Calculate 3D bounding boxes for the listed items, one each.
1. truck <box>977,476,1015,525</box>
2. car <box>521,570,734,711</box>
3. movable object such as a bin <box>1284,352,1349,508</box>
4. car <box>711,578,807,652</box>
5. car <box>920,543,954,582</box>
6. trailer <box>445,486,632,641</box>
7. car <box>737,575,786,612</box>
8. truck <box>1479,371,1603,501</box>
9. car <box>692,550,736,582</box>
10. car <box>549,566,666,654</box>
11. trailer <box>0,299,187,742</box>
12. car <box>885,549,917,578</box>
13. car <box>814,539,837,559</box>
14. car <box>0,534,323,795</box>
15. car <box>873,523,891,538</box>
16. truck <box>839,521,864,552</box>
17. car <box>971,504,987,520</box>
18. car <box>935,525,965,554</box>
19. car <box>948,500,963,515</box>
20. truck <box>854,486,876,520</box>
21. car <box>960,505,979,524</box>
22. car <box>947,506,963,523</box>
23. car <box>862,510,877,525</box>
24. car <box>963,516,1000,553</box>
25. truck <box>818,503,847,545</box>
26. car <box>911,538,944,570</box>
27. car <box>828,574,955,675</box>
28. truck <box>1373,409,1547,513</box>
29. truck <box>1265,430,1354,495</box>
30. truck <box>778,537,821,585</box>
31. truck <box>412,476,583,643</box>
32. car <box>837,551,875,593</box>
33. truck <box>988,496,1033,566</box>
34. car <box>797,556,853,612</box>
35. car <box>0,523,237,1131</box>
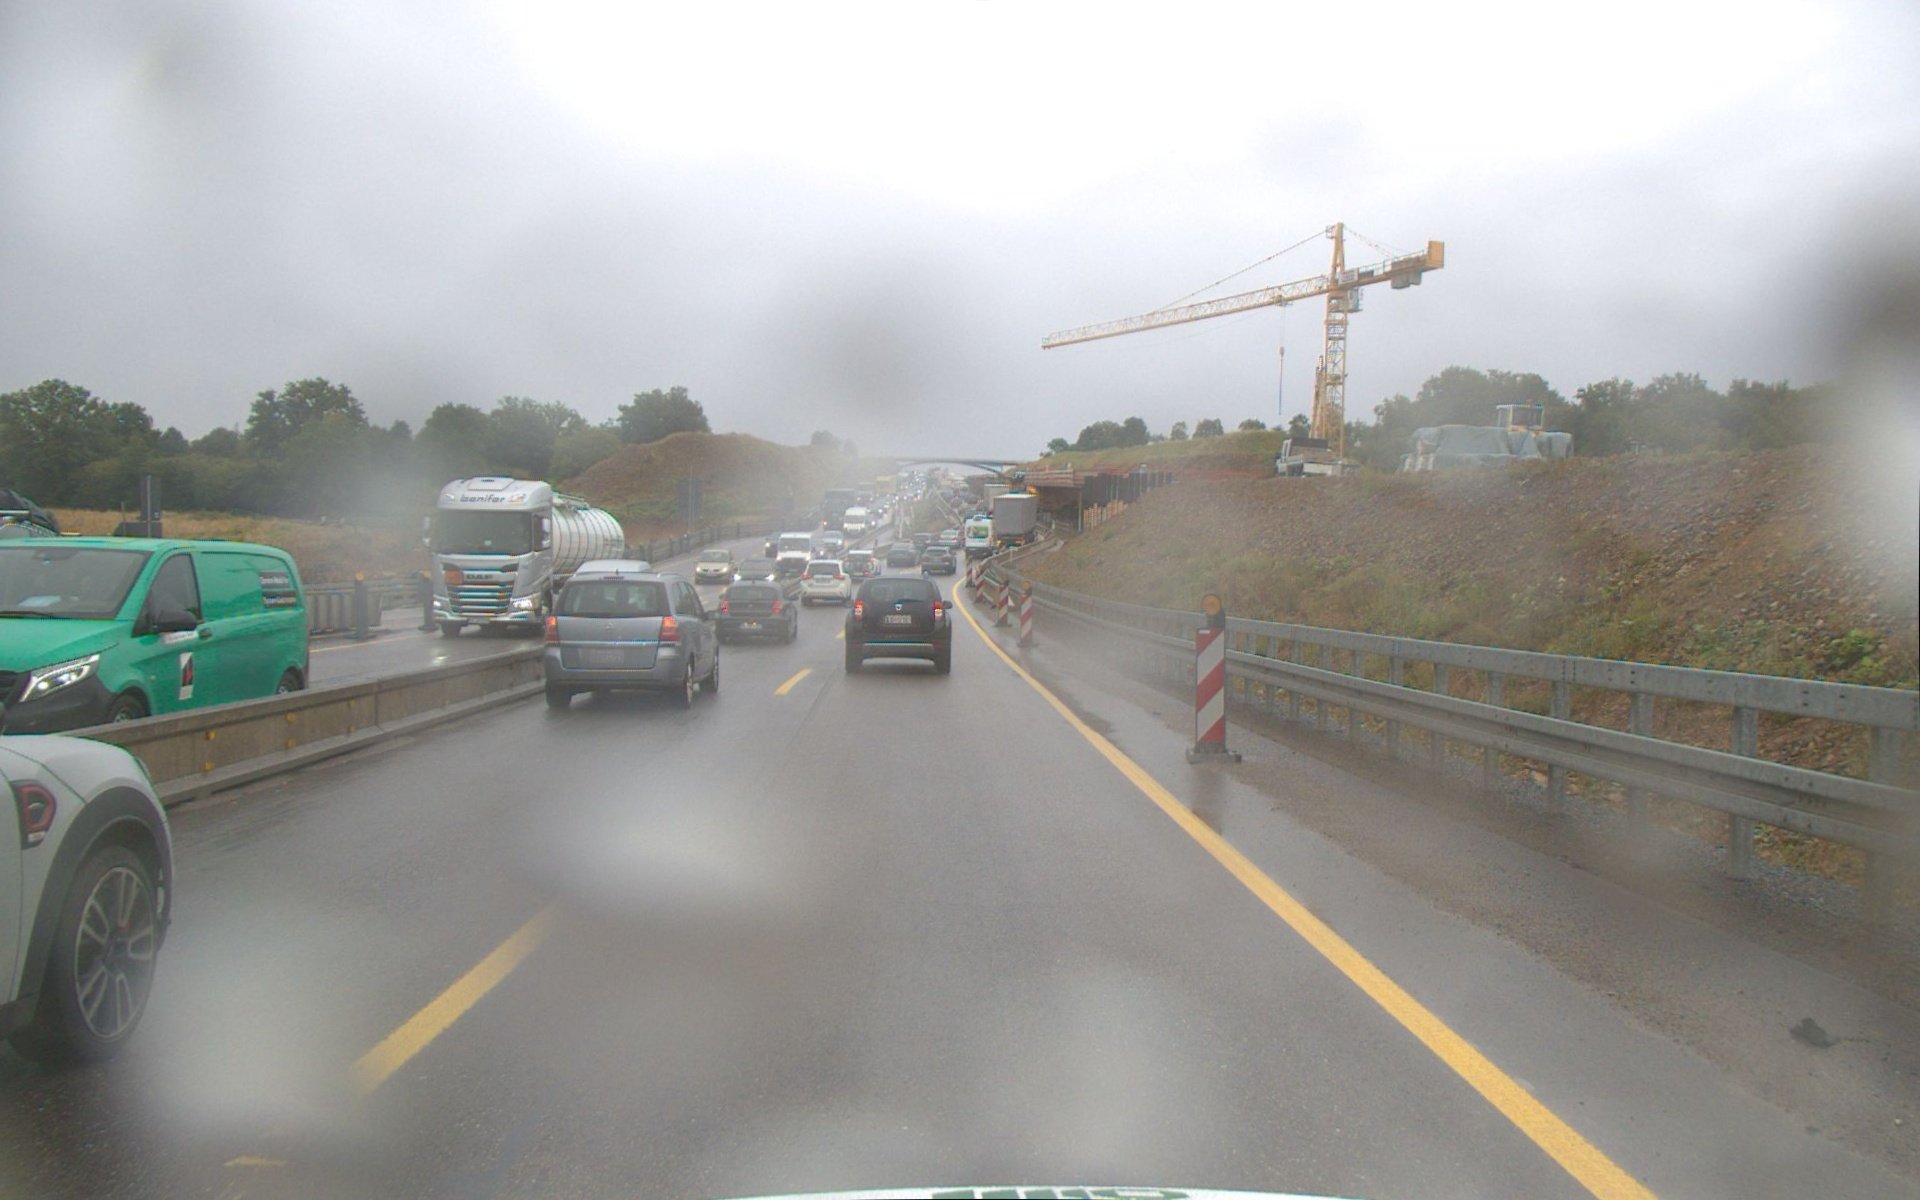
[{"bbox_3d":[4.245,-11.877,198.758,3.727,5.130,12.916,0,0,-2],"label":"truck"},{"bbox_3d":[-4.158,0.453,21.349,1.953,1.628,4.140,0,0,-1],"label":"car"},{"bbox_3d":[27.503,-12.845,127.492,4.617,11.031,10.312,0,0,13],"label":"movable object such as a bin"},{"bbox_3d":[-4.645,0.323,38.744,1.954,1.628,4.138,0,0,-3],"label":"car"},{"bbox_3d":[-1.338,-2.181,97.424,1.953,2.200,4.140,0,0,-1],"label":"car"},{"bbox_3d":[-11.411,-0.959,46.096,2.568,3.741,11.999,0,1,-2],"label":"trailer"},{"bbox_3d":[-8.691,-0.309,72.793,1.737,1.530,4.677,0,1,-2],"label":"car"},{"bbox_3d":[21.646,-6.036,61.934,2.325,4.292,5.977,0,0,-2],"label":"truck"},{"bbox_3d":[-12.372,-1.735,83.241,1.752,1.573,3.999,0,1,-2],"label":"car"},{"bbox_3d":[-7.761,0.193,36.763,1.828,1.831,4.161,0,1,-2],"label":"car"},{"bbox_3d":[-10.162,-0.712,11.529,2.694,4.113,15.355,0,0,-2],"label":"trailer"},{"bbox_3d":[-3.810,-2.333,107.311,1.953,1.792,3.814,0,0,-1],"label":"car"},{"bbox_3d":[-10.427,-3.984,128.349,1.643,1.550,4.344,0,2,-2],"label":"car"},{"bbox_3d":[-7.098,0.425,13.669,1.953,1.790,4.686,0,0,-2],"label":"car"},{"bbox_3d":[-8.069,-7.204,171.874,1.831,1.496,4.669,0,3,-3],"label":"car"},{"bbox_3d":[-9.864,-5.786,151.247,2.104,2.760,6.015,1,2,-2],"label":"truck"},{"bbox_3d":[2.671,-12.324,232.827,1.953,2.049,3.998,0,0,-2],"label":"car"},{"bbox_3d":[-0.781,-4.817,132.769,1.951,2.200,4.144,0,0,7],"label":"car"},{"bbox_3d":[-0.676,-13.861,247.739,1.953,2.049,3.998,0,0,-2],"label":"car"},{"bbox_3d":[-14.768,-15.091,257.848,3.020,5.004,8.565,1,2,-1],"label":"truck"},{"bbox_3d":[1.081,-9.668,187.558,1.953,2.048,4.000,0,2,-2],"label":"car"},{"bbox_3d":[-0.684,-10.832,209.546,1.953,2.048,4.000,0,2,-2],"label":"car"},{"bbox_3d":[-10.942,-10.004,200.054,1.702,1.713,5.552,1,3,-1],"label":"car"},{"bbox_3d":[1.584,-4.727,119.558,1.951,2.527,4.986,0,0,10],"label":"car"},{"bbox_3d":[-12.701,-7.617,165.129,2.589,4.038,9.211,0,3,-3],"label":"truck"},{"bbox_3d":[-2.349,-3.275,119.425,1.951,2.200,4.143,0,0,5],"label":"car"},{"bbox_3d":[-1.145,0.379,28.899,2.039,1.628,4.140,0,0,-1],"label":"car"},{"bbox_3d":[17.150,-4.691,57.484,3.326,2.925,8.959,0,0,0],"label":"truck"},{"bbox_3d":[16.789,-6.565,79.897,2.592,2.599,6.982,0,0,-2],"label":"truck"},{"bbox_3d":[-9.001,-2.144,93.132,2.037,2.621,5.959,0,0,-2],"label":"truck"},{"bbox_3d":[-11.181,-0.942,40.639,2.568,3.741,6.592,0,1,-2],"label":"truck"},{"bbox_3d":[-5.551,-1.464,87.778,1.954,2.200,4.137,0,0,-5],"label":"car"},{"bbox_3d":[4.295,-5.629,137.743,3.036,5.520,9.450,0,0,6],"label":"truck"},{"bbox_3d":[-5.134,-0.617,63.357,1.953,2.049,3.892,0,0,-2],"label":"car"},{"bbox_3d":[-3.435,0.614,3.792,1.779,1.628,4.307,0,1,-2],"label":"car"}]
